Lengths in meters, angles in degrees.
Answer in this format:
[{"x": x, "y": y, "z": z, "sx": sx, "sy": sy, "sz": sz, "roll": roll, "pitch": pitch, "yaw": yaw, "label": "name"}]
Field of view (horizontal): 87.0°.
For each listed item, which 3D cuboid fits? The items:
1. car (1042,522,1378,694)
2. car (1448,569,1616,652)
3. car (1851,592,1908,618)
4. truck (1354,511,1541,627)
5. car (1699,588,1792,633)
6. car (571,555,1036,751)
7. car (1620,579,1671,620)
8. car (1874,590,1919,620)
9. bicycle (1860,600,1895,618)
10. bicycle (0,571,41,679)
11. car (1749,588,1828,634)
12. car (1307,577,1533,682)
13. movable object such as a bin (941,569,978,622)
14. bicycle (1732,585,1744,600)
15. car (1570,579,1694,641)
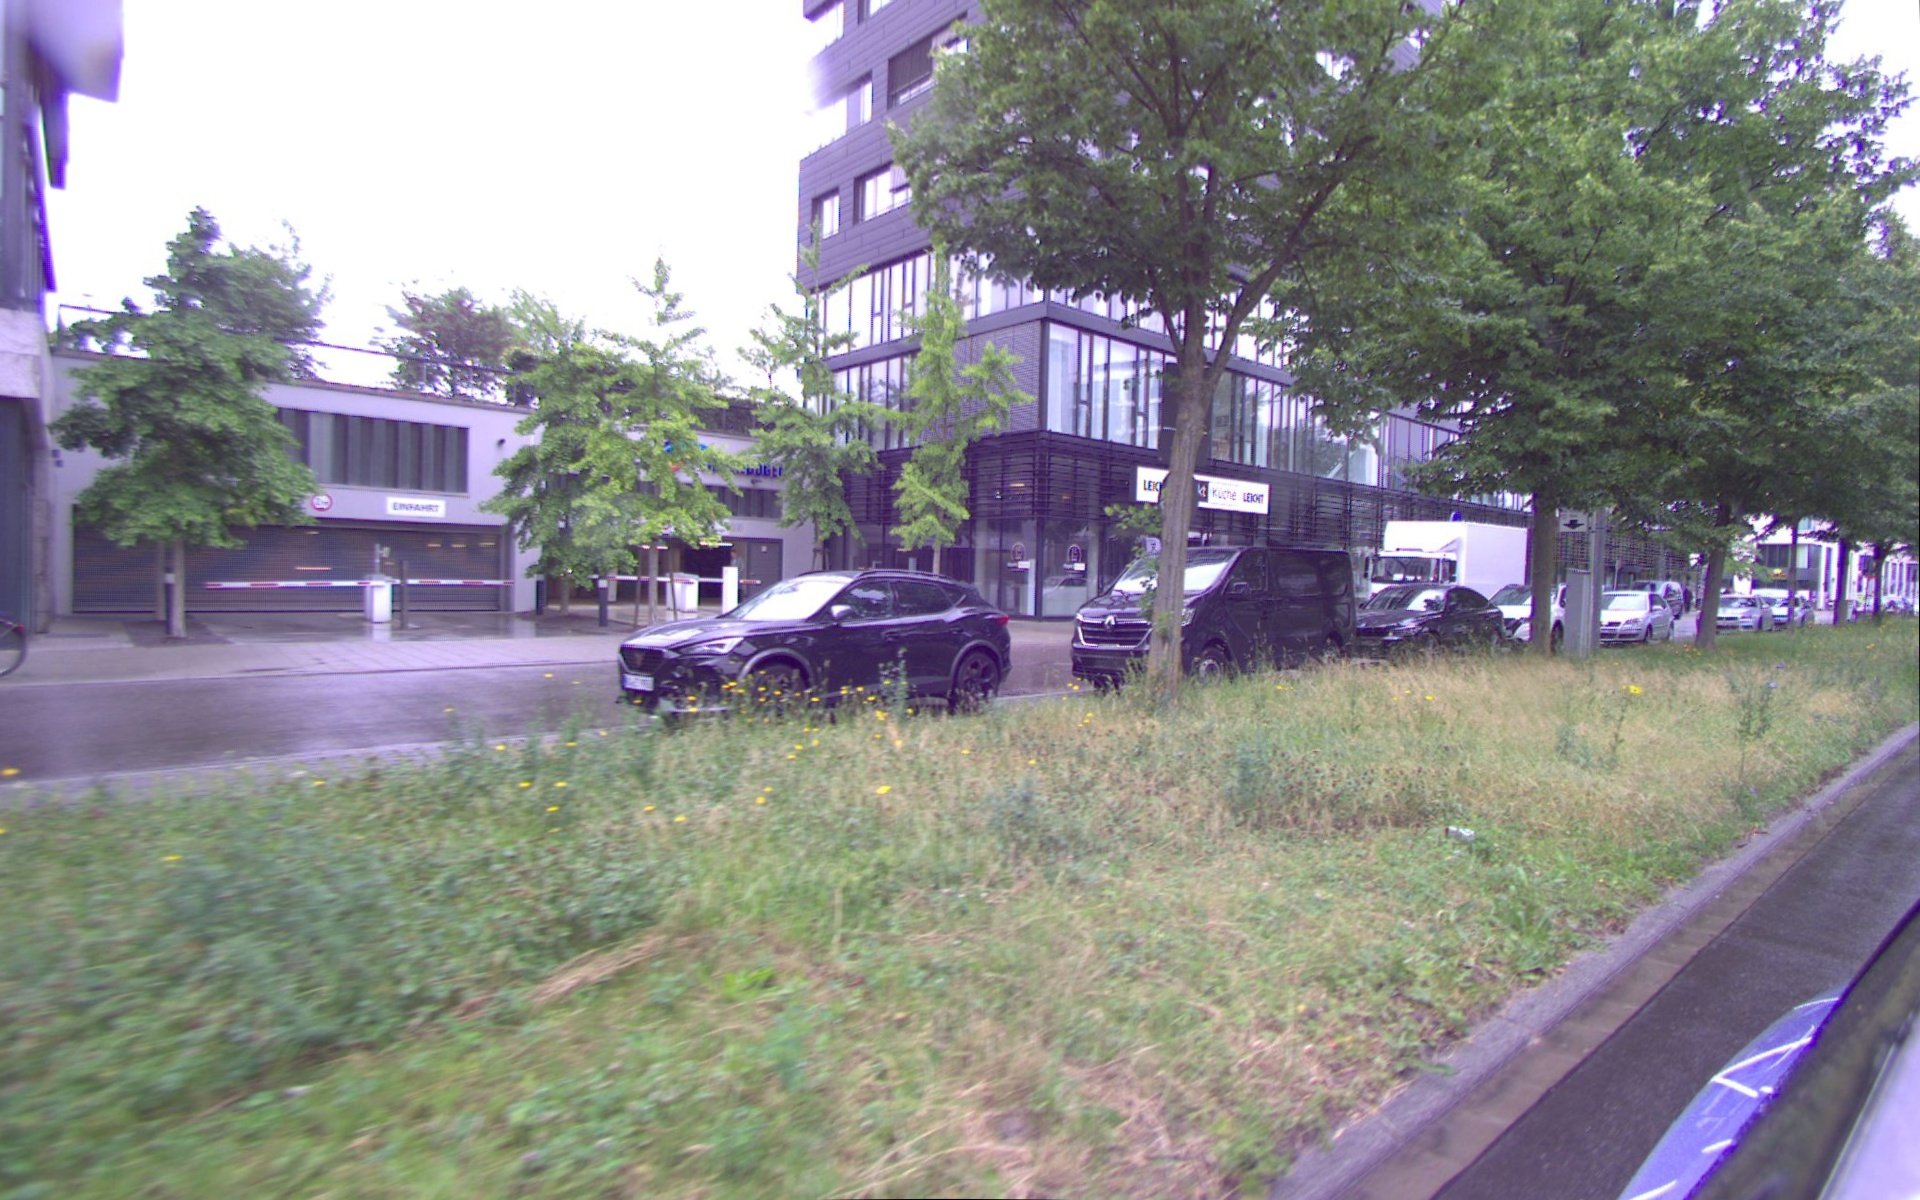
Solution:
[{"x": 3.611, "y": 0.151, "z": 14.034, "sx": 4.940, "sy": 1.977, "sz": 1.997, "roll": 3, "pitch": 0, "yaw": -41, "label": "car"}, {"x": 13.112, "y": 0.219, "z": 23.090, "sx": 4.642, "sy": 1.690, "sz": 1.996, "roll": 0, "pitch": 0, "yaw": -42, "label": "car"}, {"x": 55.403, "y": 0.299, "z": 60.931, "sx": 4.872, "sy": 1.473, "sz": 1.997, "roll": 0, "pitch": 1, "yaw": -41, "label": "car"}, {"x": 16.788, "y": -0.994, "z": 34.501, "sx": 8.407, "sy": 3.484, "sz": 3.027, "roll": 0, "pitch": 1, "yaw": -44, "label": "truck"}, {"x": 28.703, "y": 0.348, "z": 36.915, "sx": 5.151, "sy": 1.462, "sz": 1.995, "roll": 0, "pitch": 2, "yaw": -44, "label": "car"}, {"x": -1.368, "y": 0.376, "z": 10.253, "sx": 1.956, "sy": 1.531, "sz": 4.413, "roll": 2, "pitch": 2, "yaw": 42, "label": "car"}, {"x": 34.946, "y": -0.061, "z": 51.550, "sx": 1.988, "sy": 1.944, "sz": 5.084, "roll": 2, "pitch": 1, "yaw": 35, "label": "car"}, {"x": 60.165, "y": 0.313, "z": 64.779, "sx": 4.144, "sy": 1.729, "sz": 1.997, "roll": 3, "pitch": 0, "yaw": -42, "label": "car"}, {"x": 50.149, "y": 0.494, "z": 55.340, "sx": 0.424, "sy": 0.929, "sz": 1.464, "roll": 3, "pitch": 0, "yaw": -9, "label": "bicycle"}, {"x": -10.913, "y": 0.263, "z": 10.482, "sx": 2.027, "sy": 1.144, "sz": 0.519, "roll": 0, "pitch": 1, "yaw": -39, "label": "bicycle"}, {"x": 33.104, "y": 0.448, "z": 40.409, "sx": 4.028, "sy": 1.616, "sz": 1.764, "roll": 3, "pitch": 0, "yaw": -41, "label": "car"}, {"x": 8.613, "y": 0.515, "z": 18.728, "sx": 4.871, "sy": 1.690, "sz": 1.997, "roll": 1, "pitch": -1, "yaw": -41, "label": "car"}, {"x": -0.006, "y": -0.101, "z": 25.523, "sx": 0.608, "sy": 1.292, "sz": 0.637, "roll": 2, "pitch": -1, "yaw": 45, "label": "movable object such as a bin"}, {"x": 50.403, "y": -0.487, "z": 65.544, "sx": 0.436, "sy": 0.909, "sz": 1.212, "roll": 2, "pitch": -1, "yaw": 44, "label": "bicycle"}, {"x": 17.945, "y": 0.338, "z": 26.927, "sx": 4.644, "sy": 1.471, "sz": 1.770, "roll": 3, "pitch": -4, "yaw": -44, "label": "car"}]
